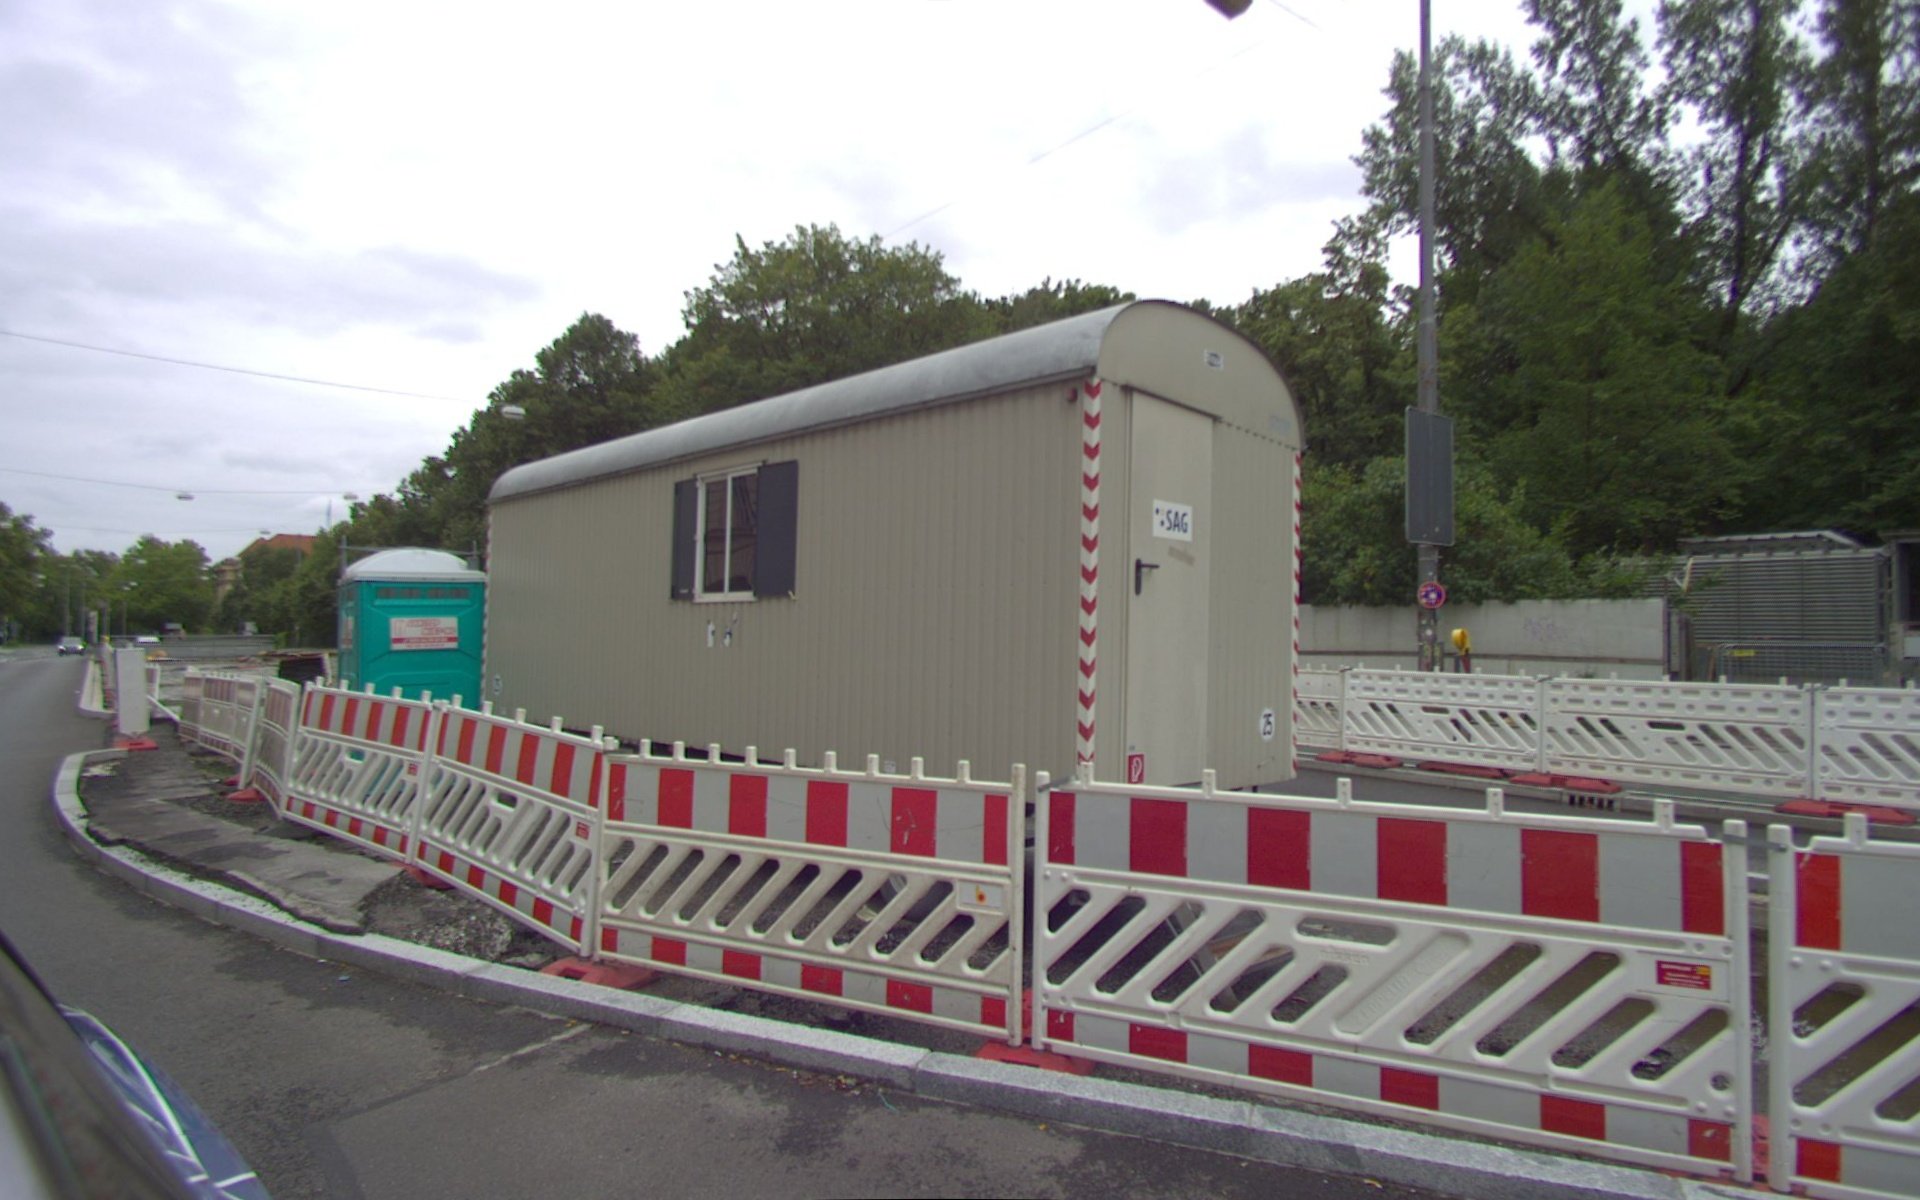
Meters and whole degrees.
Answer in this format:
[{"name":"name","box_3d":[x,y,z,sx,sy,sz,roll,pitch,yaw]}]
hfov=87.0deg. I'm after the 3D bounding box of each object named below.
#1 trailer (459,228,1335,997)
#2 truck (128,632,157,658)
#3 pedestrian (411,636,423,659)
[{"name":"trailer","box_3d":[-1.283,0.155,7.734,7.522,3.268,2.201,-2,-3,45]},{"name":"truck","box_3d":[-84.621,4.642,104.701,2.028,2.661,4.417,2,-3,-42]},{"name":"pedestrian","box_3d":[-38.844,3.403,72.418,0.655,1.653,0.699,0,-2,-40]}]
